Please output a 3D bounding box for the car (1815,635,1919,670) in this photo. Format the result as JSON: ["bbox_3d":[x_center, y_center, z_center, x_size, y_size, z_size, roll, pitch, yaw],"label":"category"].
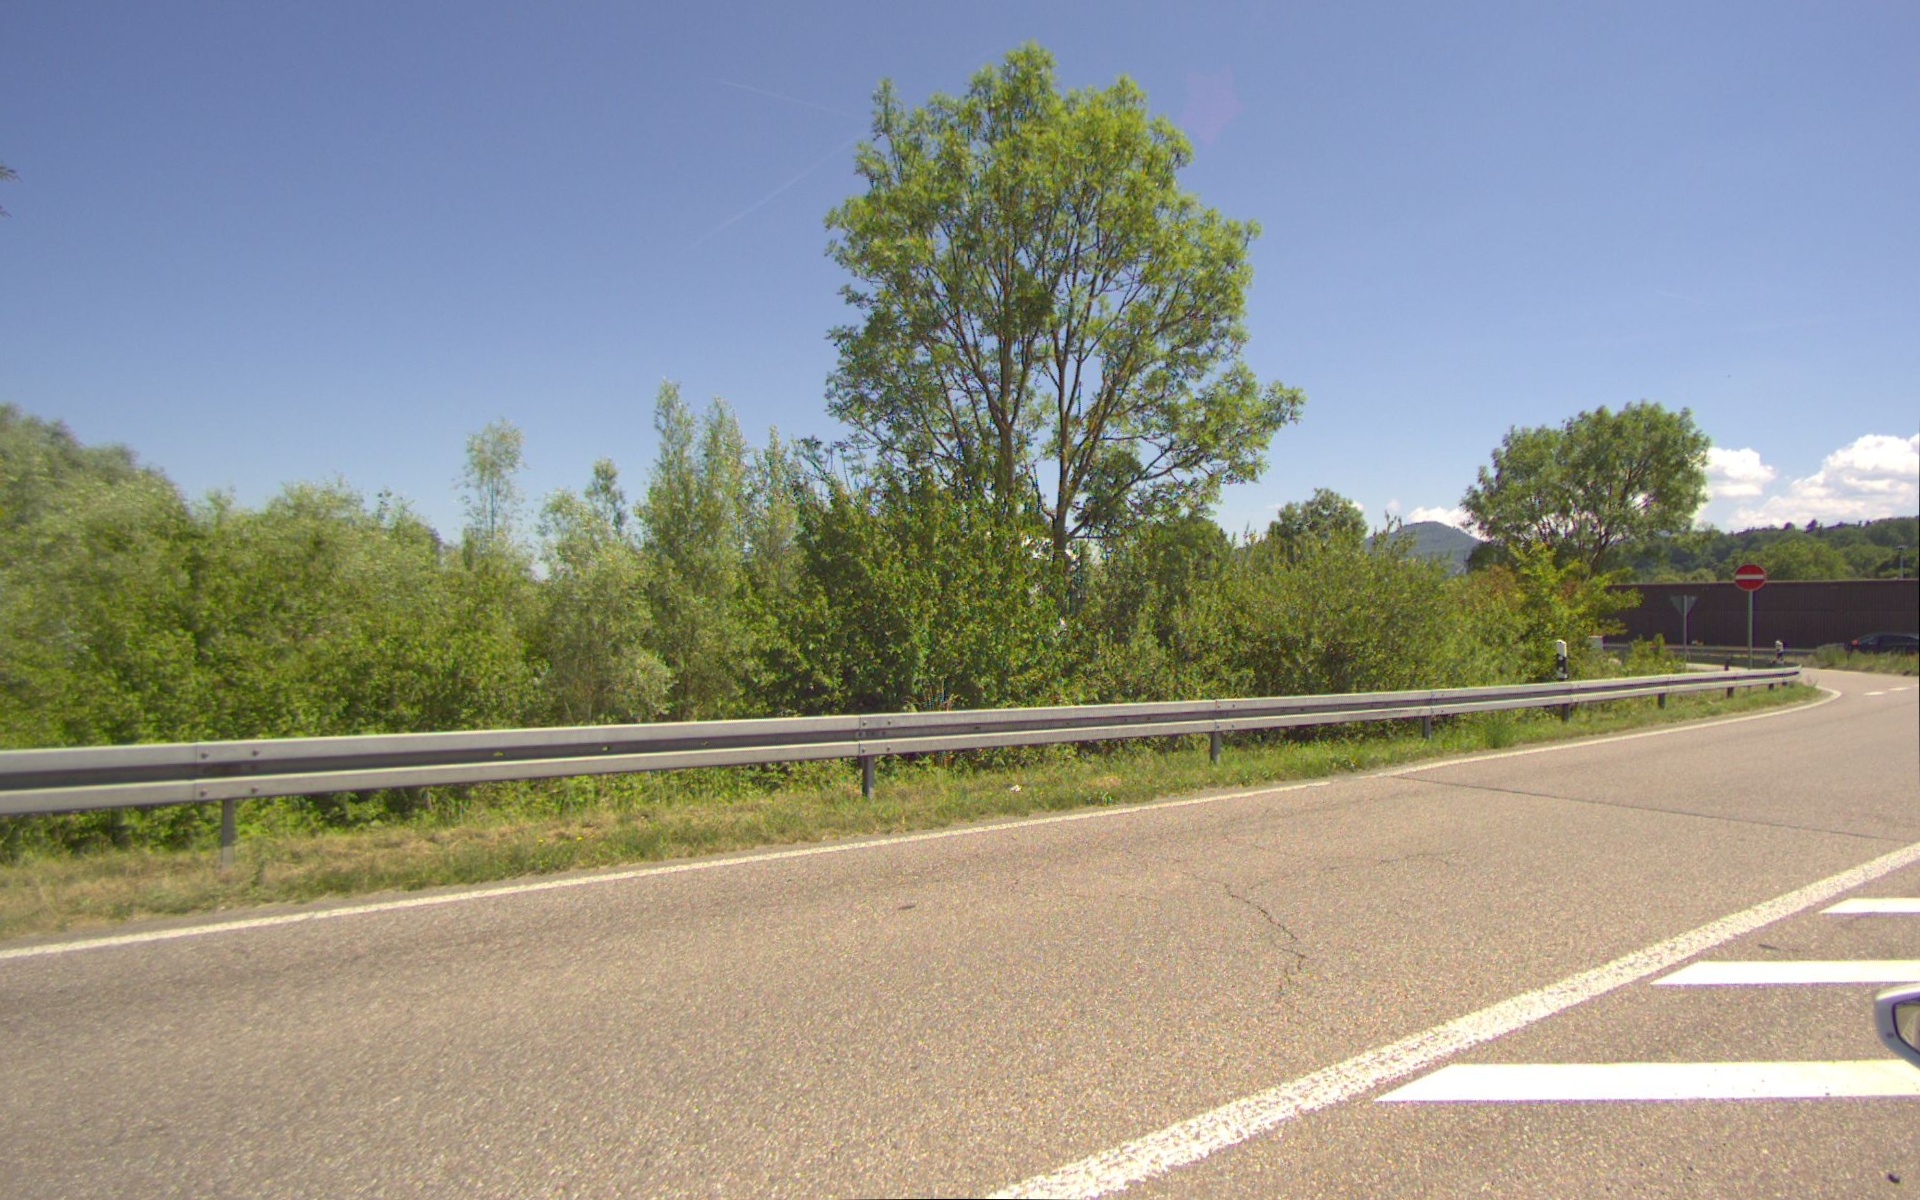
[{"bbox_3d":[41.658,2.376,45.474,1.929,1.493,4.072,0,-3,-34],"label":"car"}]
